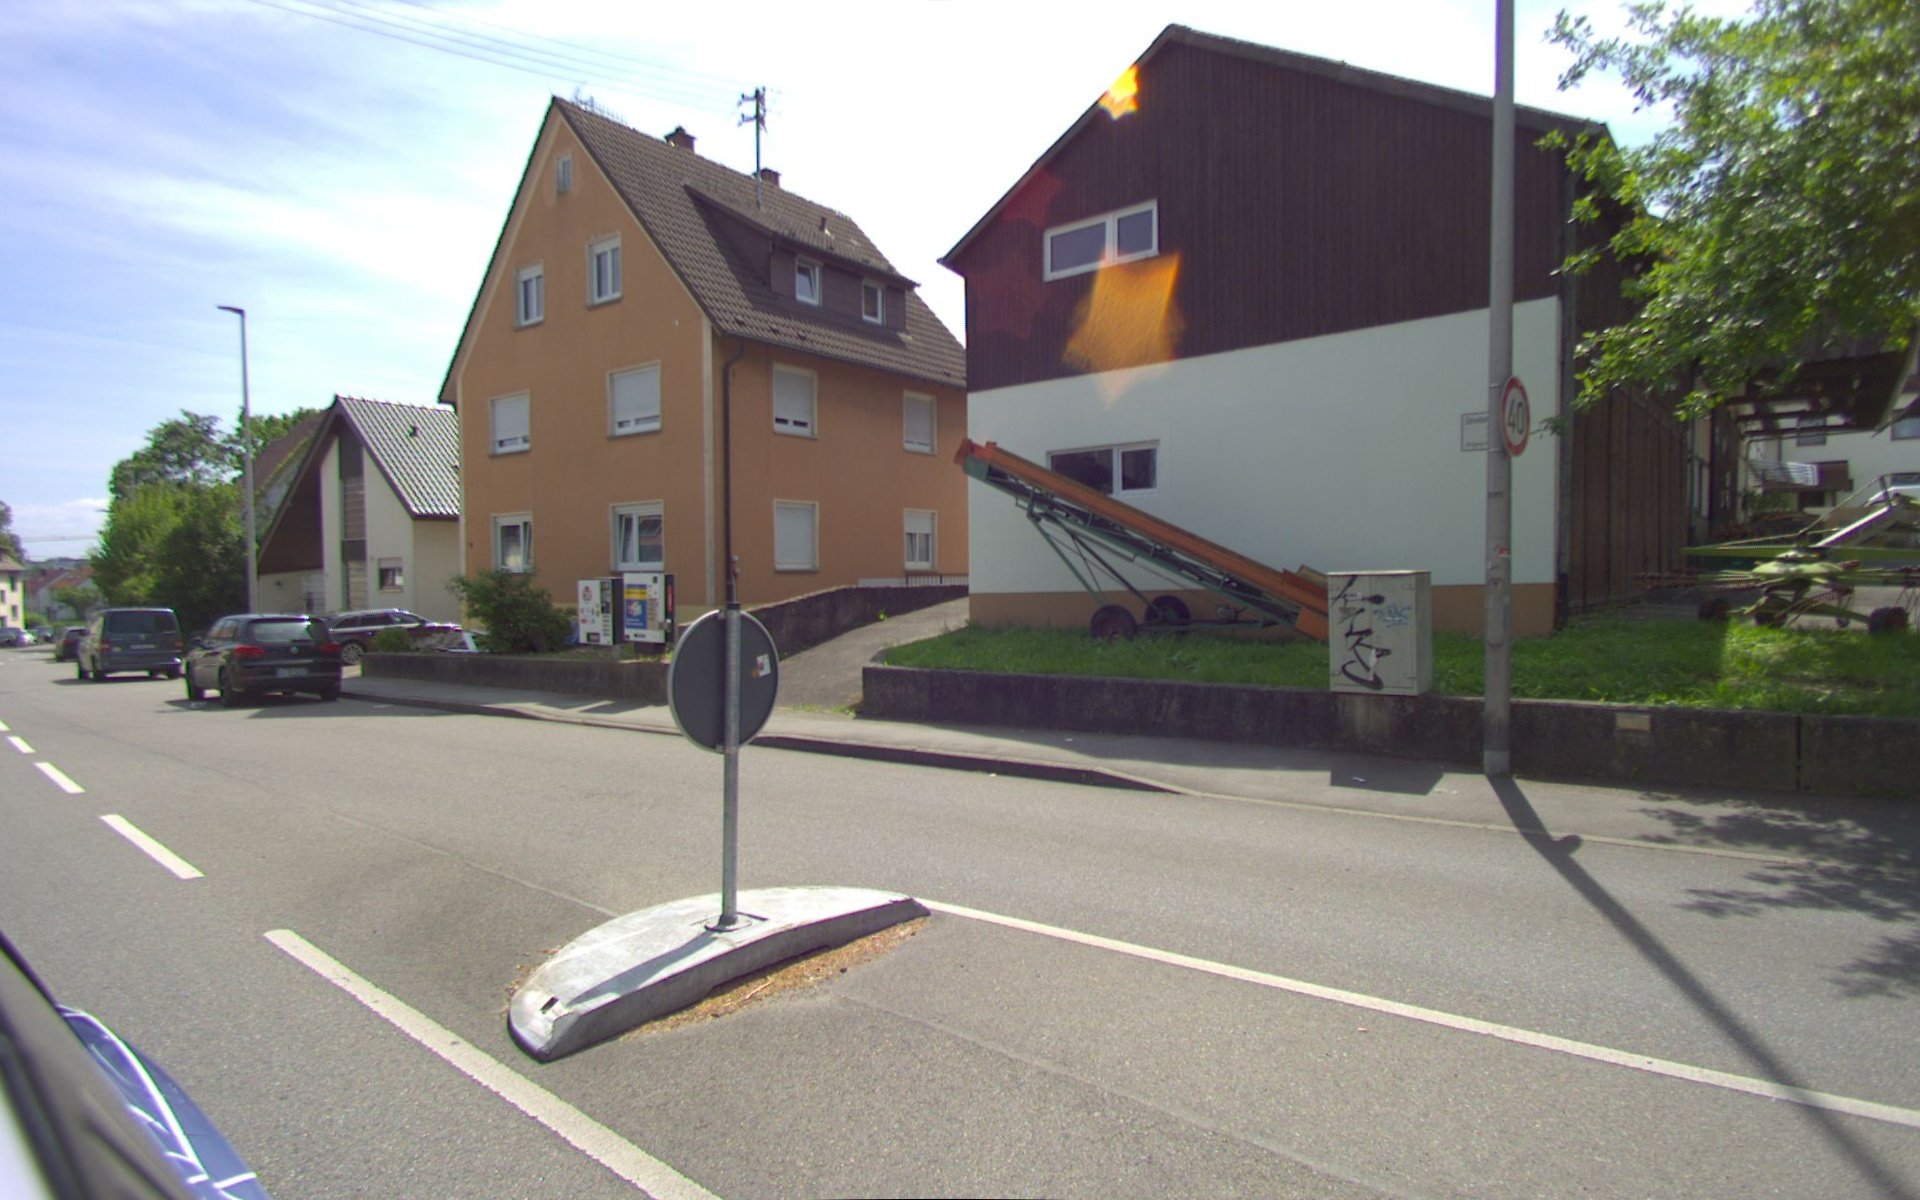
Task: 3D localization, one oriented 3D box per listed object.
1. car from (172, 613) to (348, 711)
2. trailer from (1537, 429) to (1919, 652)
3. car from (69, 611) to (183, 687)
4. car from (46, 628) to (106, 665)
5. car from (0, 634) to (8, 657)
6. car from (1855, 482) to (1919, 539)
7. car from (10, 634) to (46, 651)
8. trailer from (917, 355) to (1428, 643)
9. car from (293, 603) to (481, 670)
[{"bbox_3d":[-13.336,1.103,19.190,4.285,1.648,1.750,-2,-2,41],"label":"car"},{"bbox_3d":[8.113,-0.579,9.710,3.644,1.704,2.774,-4,2,-22],"label":"trailer"},{"bbox_3d":[-23.551,1.311,28.509,4.987,1.952,1.870,-2,-2,44],"label":"car"},{"bbox_3d":[-38.628,2.022,44.182,1.797,1.484,4.780,0,-2,-43],"label":"car"},{"bbox_3d":[-76.519,3.615,79.547,1.928,1.729,4.727,-1,-1,-36],"label":"car"},{"bbox_3d":[37.371,-3.476,38.679,4.656,2.029,1.973,-1,1,41],"label":"car"},{"bbox_3d":[-85.819,3.866,93.256,1.764,1.431,4.369,-1,-1,-34],"label":"car"},{"bbox_3d":[2.330,-0.953,12.724,6.169,2.870,1.695,-2,0,40],"label":"trailer"},{"bbox_3d":[-16.127,0.984,28.654,1.819,1.415,4.189,-2,3,38],"label":"car"}]
